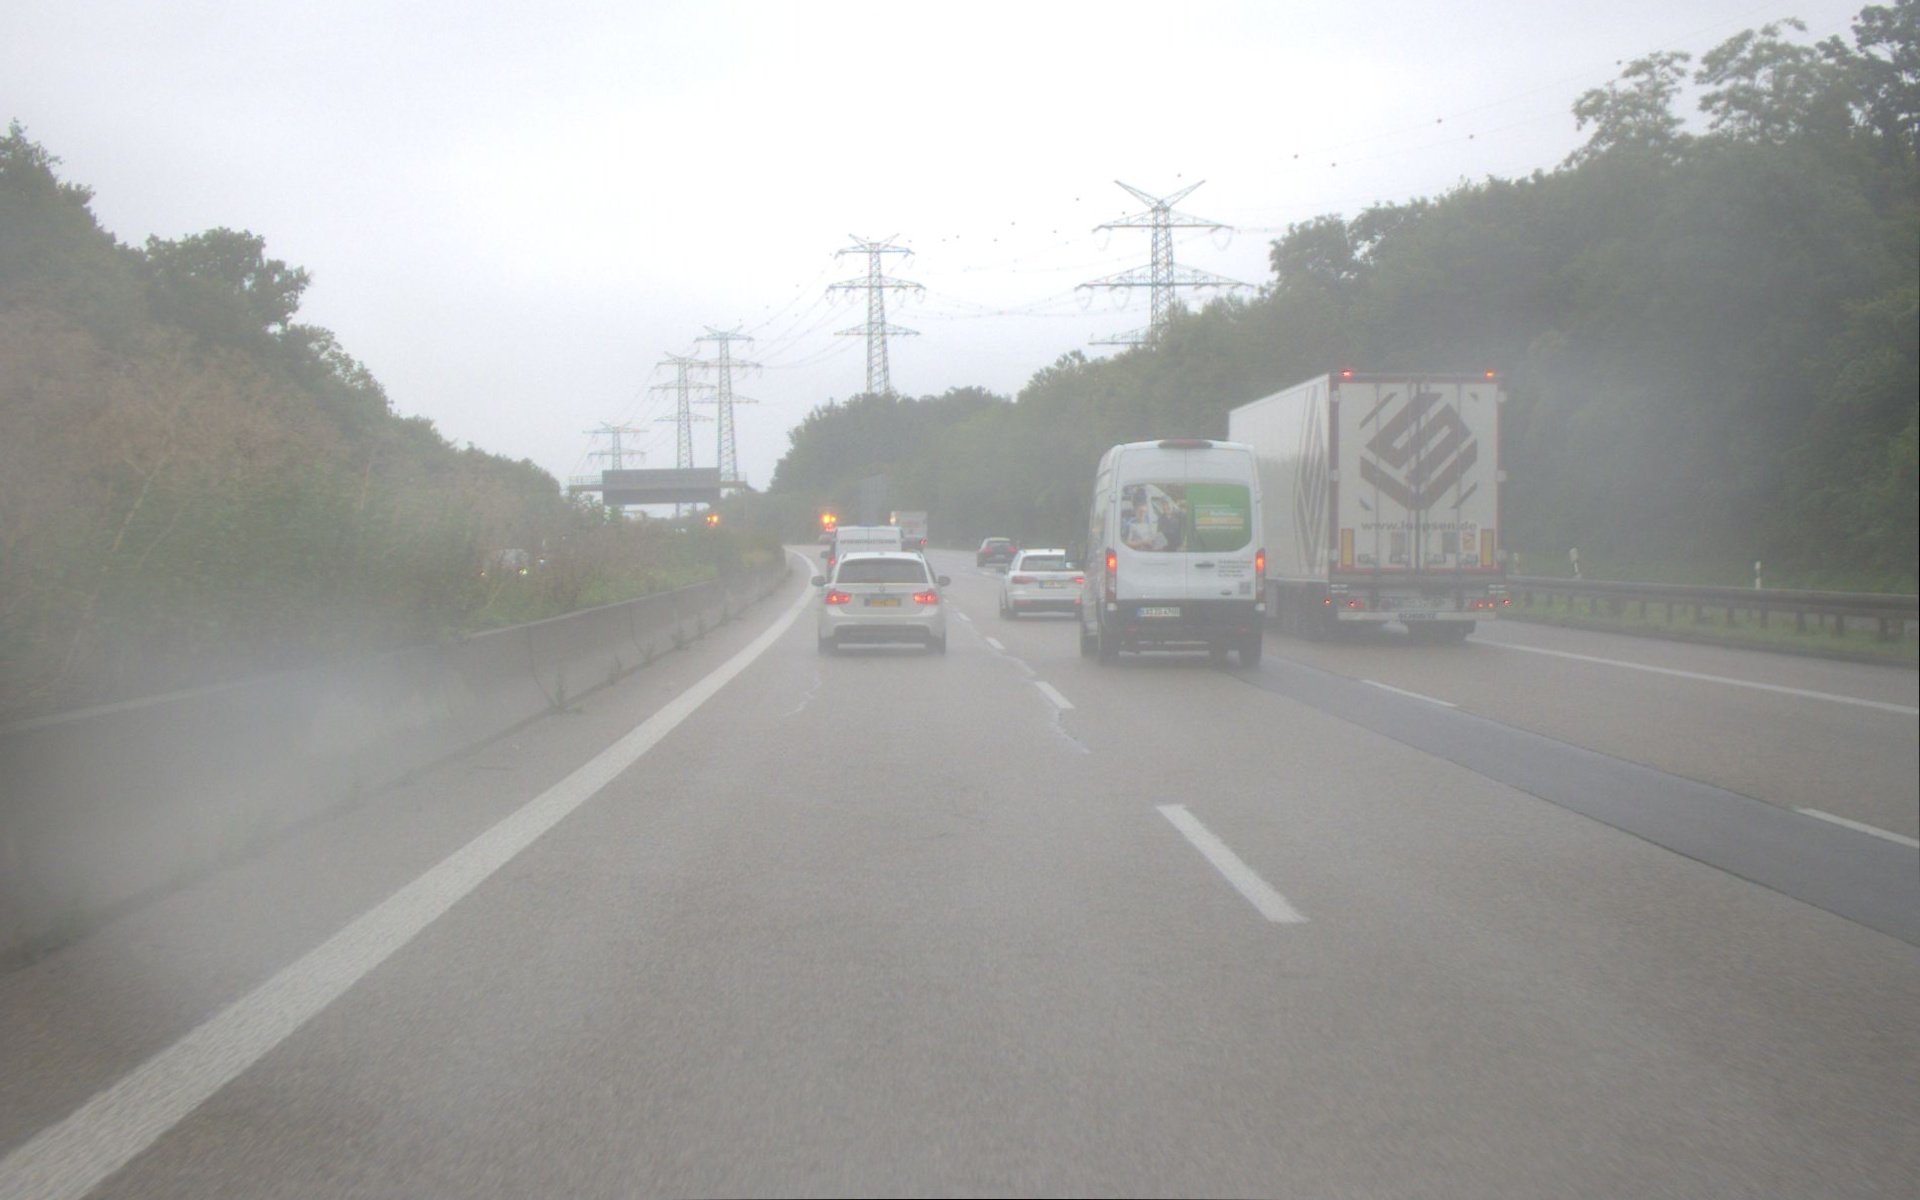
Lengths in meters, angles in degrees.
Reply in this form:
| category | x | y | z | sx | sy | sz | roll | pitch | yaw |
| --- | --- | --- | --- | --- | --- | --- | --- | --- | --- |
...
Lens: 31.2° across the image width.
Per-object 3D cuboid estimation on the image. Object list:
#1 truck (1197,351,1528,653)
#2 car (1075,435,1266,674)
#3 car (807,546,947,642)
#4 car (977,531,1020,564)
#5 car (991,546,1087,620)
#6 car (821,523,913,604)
| category | x | y | z | sx | sy | sz | roll | pitch | yaw |
| --- | --- | --- | --- | --- | --- | --- | --- | --- | --- |
| truck | 6.260 | -1.468 | 56.181 | 3.603 | 4.317 | 13.200 | -1 | 0 | -1 |
| car | 2.591 | -0.581 | 43.208 | 1.993 | 2.854 | 4.001 | 0 | 1 | -2 |
| car | -1.135 | -0.113 | 48.083 | 1.866 | 1.284 | 4.000 | 0 | 1 | -1 |
| car | 1.888 | -2.565 | 168.711 | 1.993 | 1.481 | 4.000 | -3 | 0 | 1 |
| car | 1.616 | -0.365 | 69.193 | 1.857 | 1.418 | 4.000 | 0 | 1 | 3 |
| car | -2.106 | -0.841 | 78.720 | 1.846 | 1.766 | 4.000 | -1 | 1 | 2 |
